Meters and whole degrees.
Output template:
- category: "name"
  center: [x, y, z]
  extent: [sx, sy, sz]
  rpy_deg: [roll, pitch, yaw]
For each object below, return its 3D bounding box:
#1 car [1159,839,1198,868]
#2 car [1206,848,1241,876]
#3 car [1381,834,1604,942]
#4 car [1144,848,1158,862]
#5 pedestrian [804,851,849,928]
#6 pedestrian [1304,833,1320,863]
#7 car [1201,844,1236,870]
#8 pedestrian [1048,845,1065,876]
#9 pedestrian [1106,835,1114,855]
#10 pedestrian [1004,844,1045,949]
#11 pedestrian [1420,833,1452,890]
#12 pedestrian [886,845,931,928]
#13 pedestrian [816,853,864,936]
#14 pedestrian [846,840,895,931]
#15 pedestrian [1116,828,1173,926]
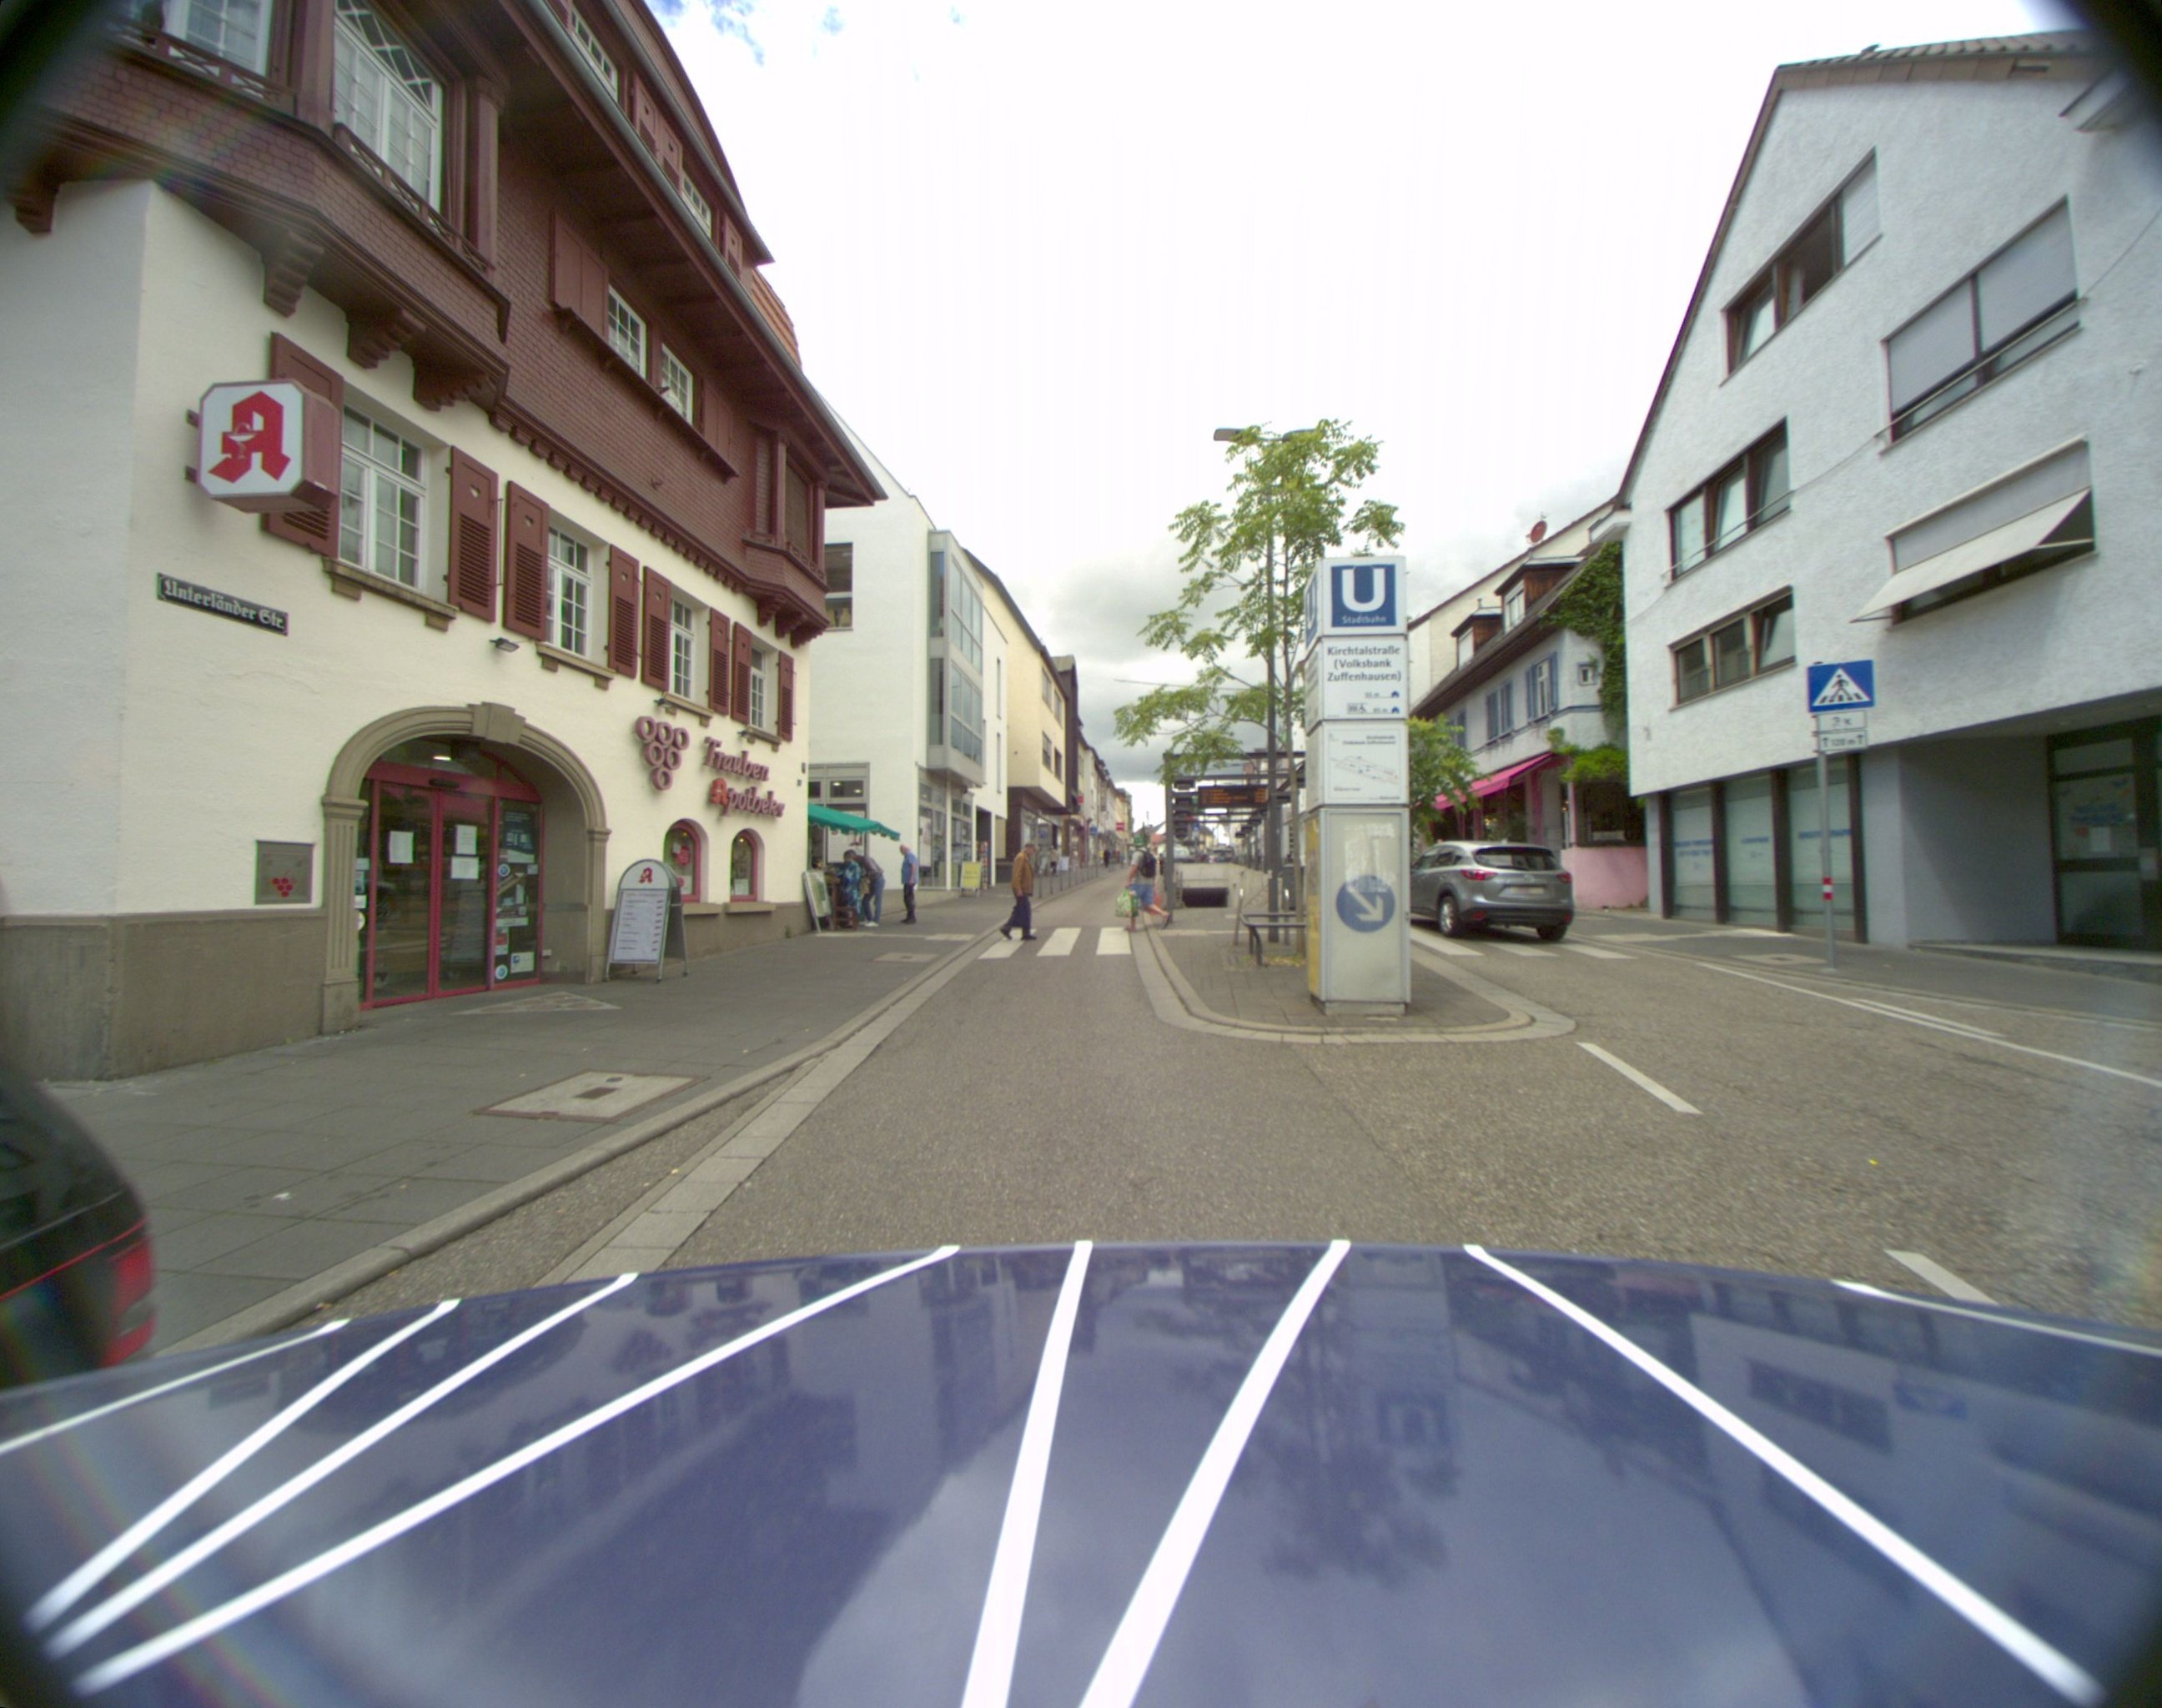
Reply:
- category: "car"
  center: [5.617, -0.056, 44.319]
  extent: [1.998, 1.557, 4.432]
  rpy_deg: [-2, 1, 5]
- category: "car"
  center: [8.299, 0.410, 44.474]
  extent: [1.702, 1.539, 3.900]
  rpy_deg: [0, 1, 6]
- category: "car"
  center: [7.147, 0.481, 13.805]
  extent: [1.967, 1.612, 4.356]
  rpy_deg: [1, 1, 5]
- category: "car"
  center: [10.551, 0.175, 114.405]
  extent: [1.997, 2.002, 4.001]
  rpy_deg: [0, 1, 6]
- category: "pedestrian"
  center: [-5.464, 0.739, 16.308]
  extent: [0.624, 1.603, 0.703]
  rpy_deg: [0, 1, 11]
- category: "pedestrian"
  center: [13.085, -0.334, 43.041]
  extent: [0.748, 1.704, 0.664]
  rpy_deg: [0, 1, 7]
- category: "car"
  center: [9.223, 0.172, 51.375]
  extent: [1.997, 1.580, 4.496]
  rpy_deg: [-2, 1, 6]
- category: "pedestrian"
  center: [-1.353, 0.343, 42.151]
  extent: [0.759, 1.664, 0.780]
  rpy_deg: [2, 1, 4]
- category: "pedestrian"
  center: [2.477, -0.763, 65.499]
  extent: [0.663, 1.697, 0.780]
  rpy_deg: [0, 1, 4]
- category: "pedestrian"
  center: [-1.008, 0.723, 13.401]
  extent: [0.676, 1.791, 0.788]
  rpy_deg: [-1, 1, -7]
- category: "pedestrian"
  center: [10.974, 0.223, 23.513]
  extent: [0.695, 1.730, 0.825]
  rpy_deg: [0, 1, 8]
- category: "pedestrian"
  center: [-3.766, 0.690, 16.586]
  extent: [0.701, 1.757, 0.627]
  rpy_deg: [0, 2, 32]
- category: "pedestrian"
  center: [-4.790, 0.778, 15.121]
  extent: [0.624, 1.603, 0.703]
  rpy_deg: [0, 1, 11]
- category: "pedestrian"
  center: [-4.409, 0.638, 15.899]
  extent: [0.704, 1.846, 0.778]
  rpy_deg: [-1, 2, -41]
- category: "pedestrian"
  center: [1.215, 0.406, 14.328]
  extent: [0.918, 1.777, 0.989]
  rpy_deg: [0, 1, 14]
